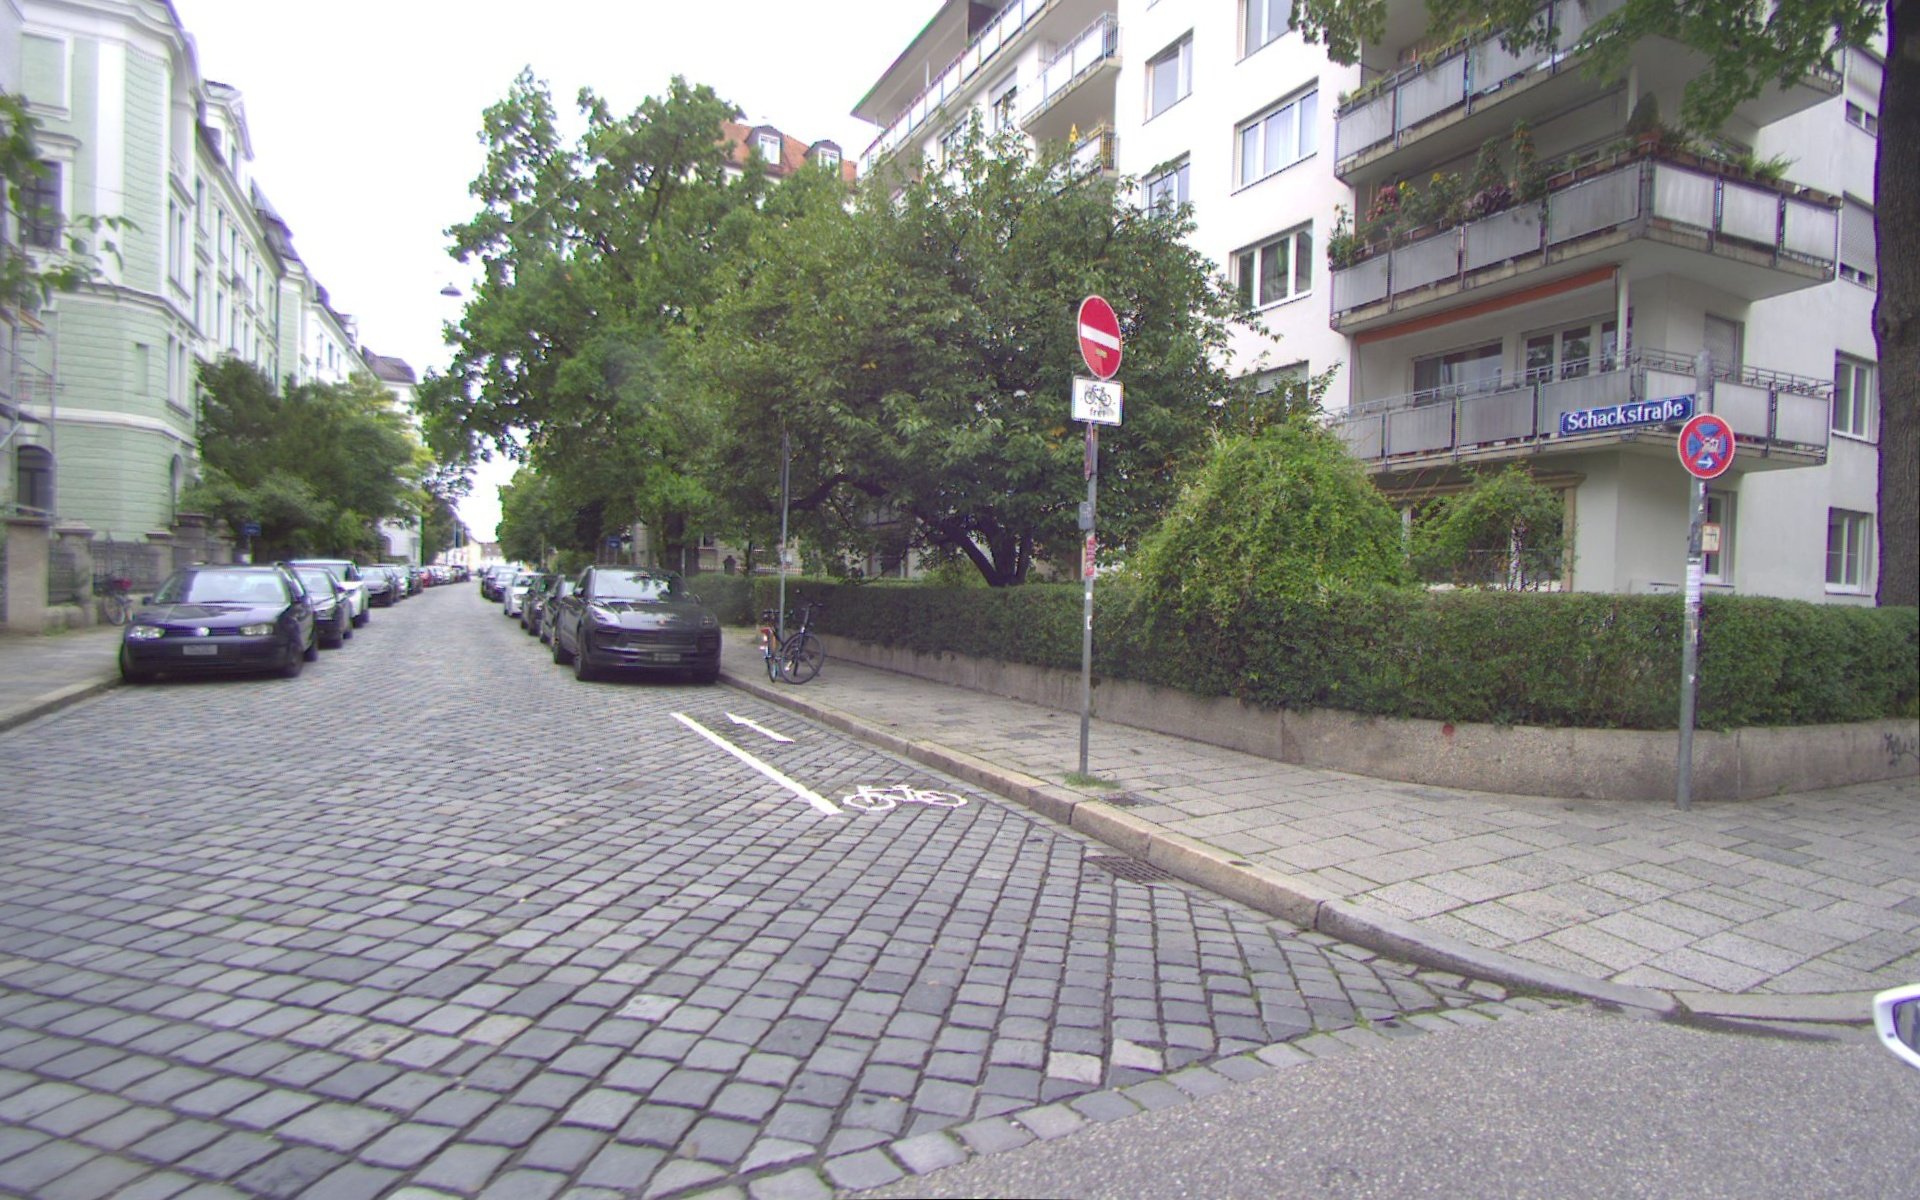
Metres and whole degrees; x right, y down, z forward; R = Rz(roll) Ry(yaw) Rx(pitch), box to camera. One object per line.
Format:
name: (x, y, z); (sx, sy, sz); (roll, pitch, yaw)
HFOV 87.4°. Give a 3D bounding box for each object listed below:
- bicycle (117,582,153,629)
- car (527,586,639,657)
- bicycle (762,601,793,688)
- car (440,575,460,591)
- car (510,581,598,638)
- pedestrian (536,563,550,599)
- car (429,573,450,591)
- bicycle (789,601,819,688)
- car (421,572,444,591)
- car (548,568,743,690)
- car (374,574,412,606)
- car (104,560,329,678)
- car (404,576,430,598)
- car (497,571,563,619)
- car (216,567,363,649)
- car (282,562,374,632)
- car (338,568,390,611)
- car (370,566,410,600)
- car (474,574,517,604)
bicycle: (-16.991, 0.100, 20.710); (0.402, 0.885, 1.707); (1, 1, -34)
car: (-7.483, 0.381, 19.783); (1.466, 1.181, 3.462); (3, 0, -30)
bicycle: (-2.514, 0.580, 13.926); (0.341, 1.086, 1.777); (1, 1, -9)
car: (-48.763, -1.654, 95.965); (1.480, 1.450, 3.569); (1, 1, -30)
car: (-9.865, 0.197, 24.280); (1.466, 1.181, 3.462); (3, 0, -30)
pedestrian: (-22.923, -1.034, 55.215); (0.531, 1.975, 0.481); (1, 1, -35)
car: (-44.924, -1.560, 86.668); (1.480, 1.450, 3.569); (1, 1, -30)
bicycle: (-2.180, 0.583, 14.039); (0.341, 1.086, 1.777); (3, 1, -9)
car: (-42.884, -1.503, 81.652); (1.480, 1.450, 3.569); (1, 1, -30)
car: (-4.873, 0.355, 15.124); (1.993, 1.542, 4.260); (3, 0, -28)
car: (-28.396, -0.515, 50.269); (1.575, 1.484, 3.500); (1, 1, -31)
car: (-9.840, 0.186, 13.624); (1.822, 1.344, 4.082); (2, 1, -28)
car: (-38.833, -0.934, 71.805); (1.480, 1.450, 3.569); (1, 1, -30)
car: (-13.679, -0.191, 31.865); (1.466, 1.394, 3.462); (3, 0, -30)
car: (-12.275, 0.097, 18.622); (1.822, 1.344, 4.082); (2, 1, -28)
car: (-15.151, -0.100, 24.217); (1.568, 1.542, 3.632); (2, 1, -28)
car: (-21.429, -0.391, 36.202); (1.504, 1.447, 3.372); (2, 1, -30)
car: (-25.681, -0.790, 45.270); (1.504, 1.447, 3.372); (2, 1, -30)
car: (-21.171, -0.511, 45.754); (1.504, 1.264, 3.372); (2, 1, -30)
